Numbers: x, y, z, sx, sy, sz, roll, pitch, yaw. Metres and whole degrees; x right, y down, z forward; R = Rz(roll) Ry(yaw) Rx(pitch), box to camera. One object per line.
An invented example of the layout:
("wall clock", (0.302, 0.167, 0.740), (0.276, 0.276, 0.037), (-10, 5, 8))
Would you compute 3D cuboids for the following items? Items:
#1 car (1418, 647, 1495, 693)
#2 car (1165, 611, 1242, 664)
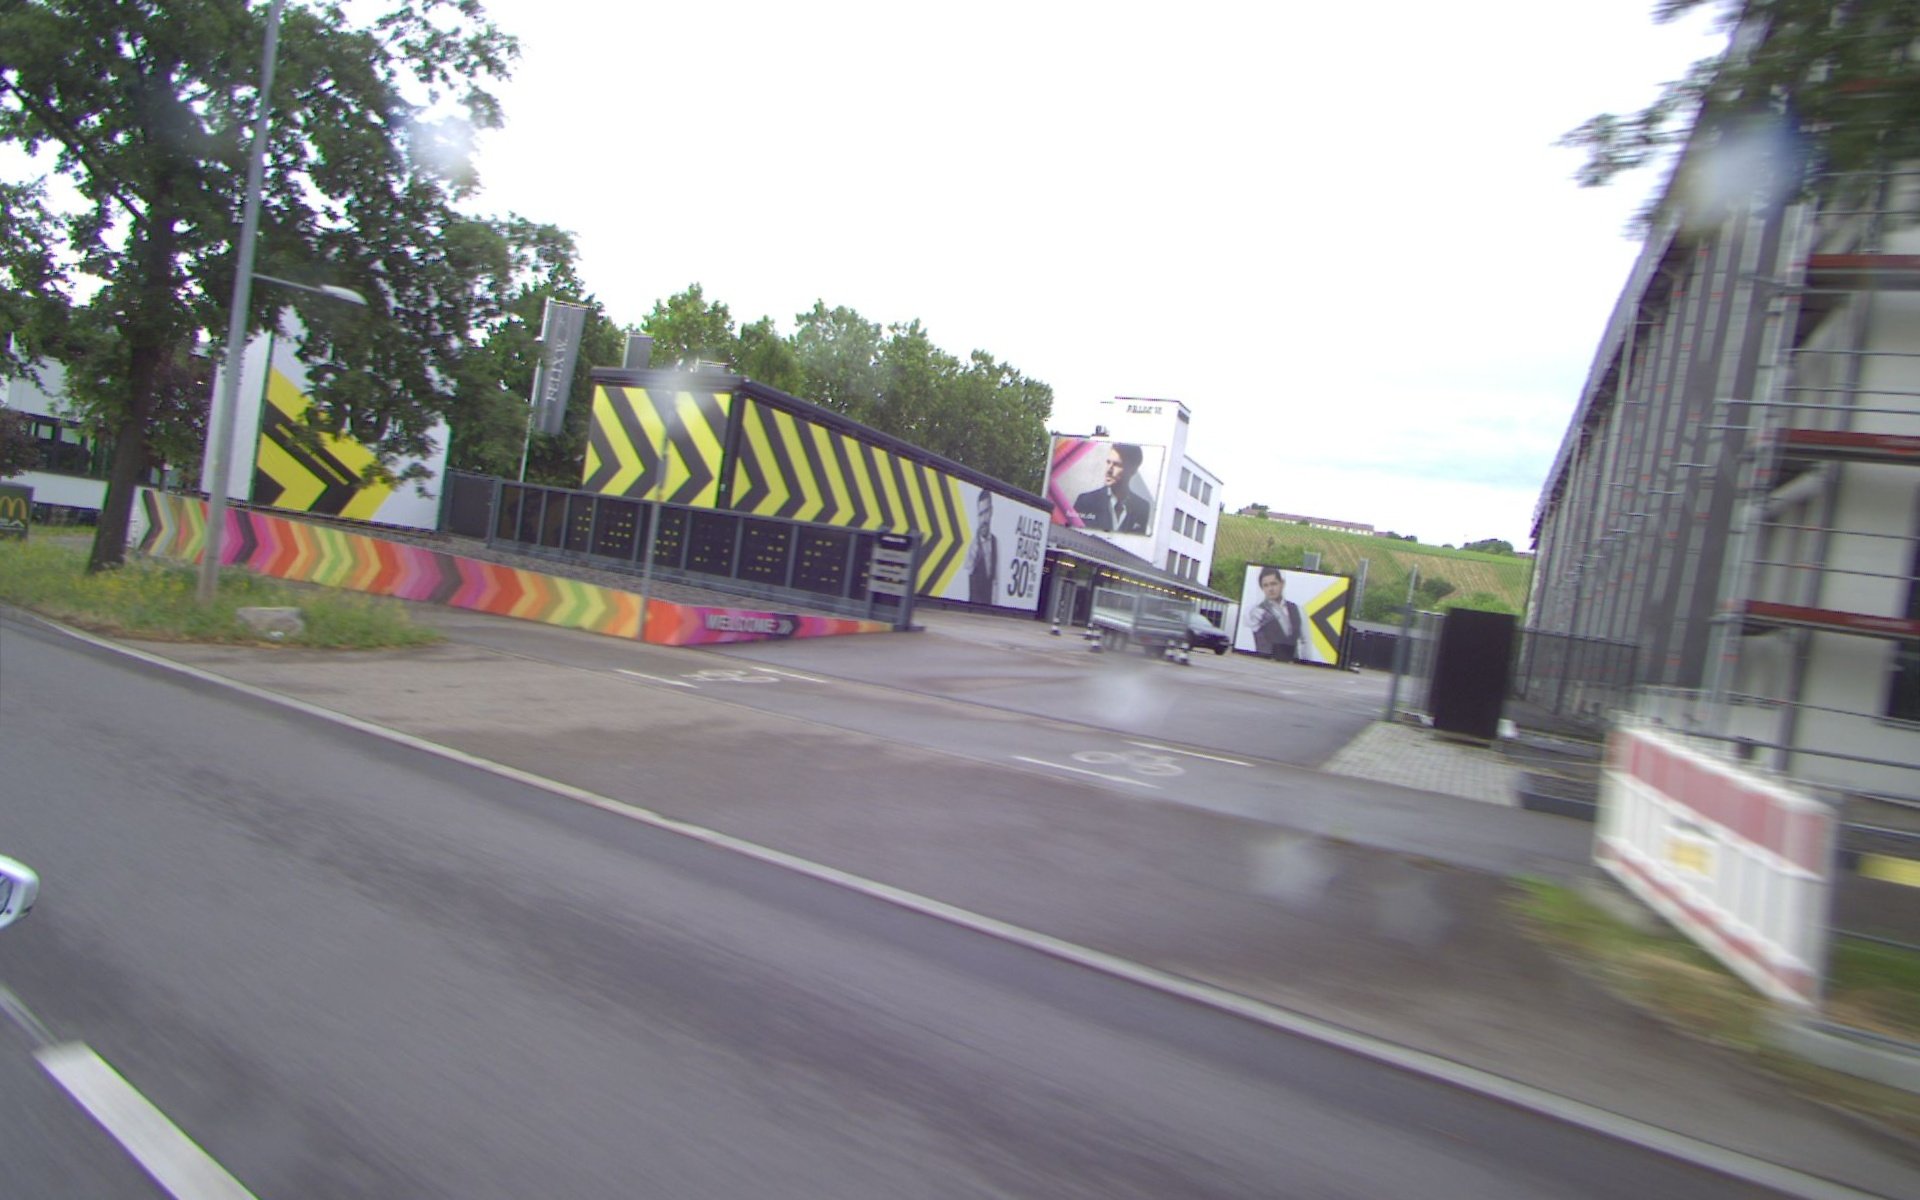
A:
("car", (24.898, 3.513, 50.358), (3.975, 1.769, 1.977), (10, -3, -41))
("car", (10.394, 1.624, 43.218), (1.964, 1.925, 4.002), (8, -2, -2))
